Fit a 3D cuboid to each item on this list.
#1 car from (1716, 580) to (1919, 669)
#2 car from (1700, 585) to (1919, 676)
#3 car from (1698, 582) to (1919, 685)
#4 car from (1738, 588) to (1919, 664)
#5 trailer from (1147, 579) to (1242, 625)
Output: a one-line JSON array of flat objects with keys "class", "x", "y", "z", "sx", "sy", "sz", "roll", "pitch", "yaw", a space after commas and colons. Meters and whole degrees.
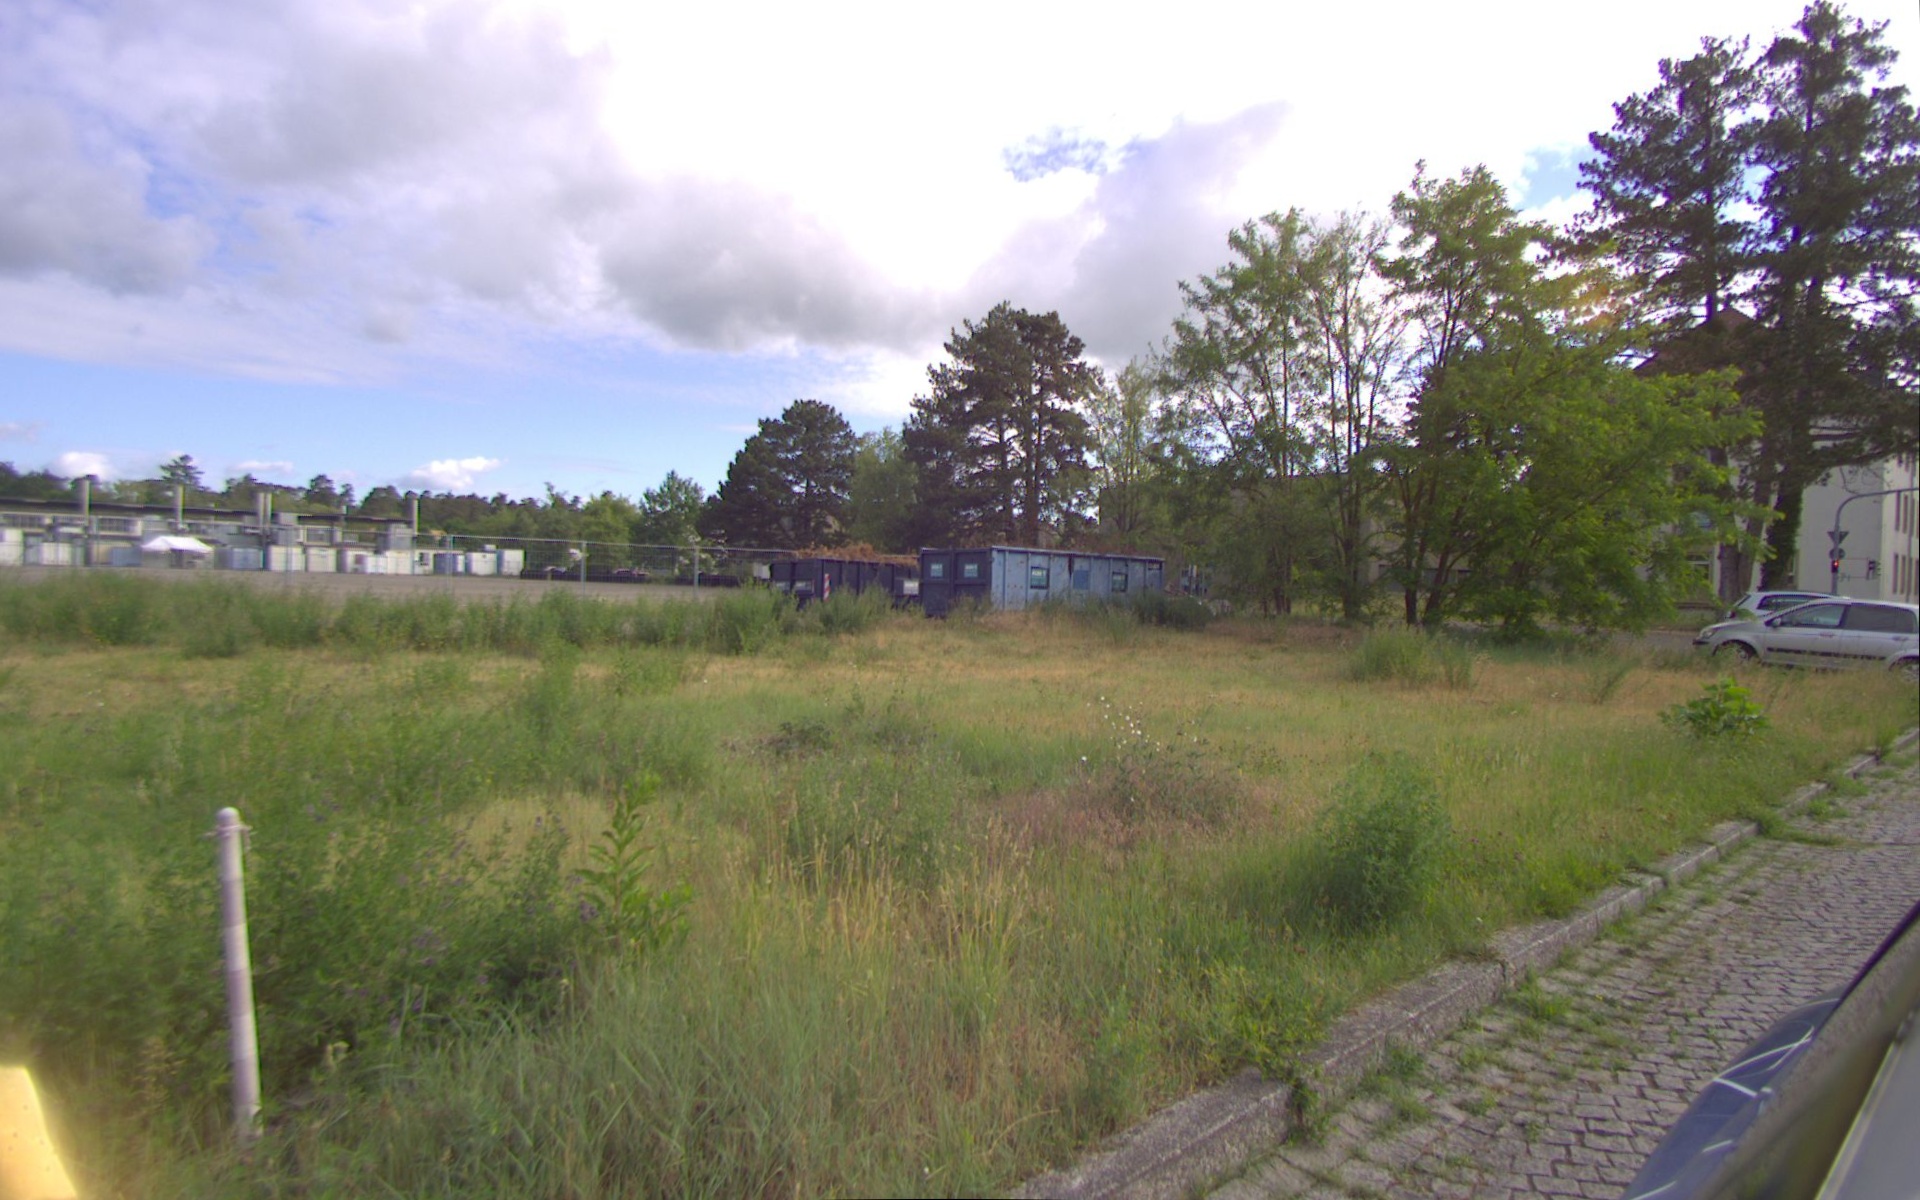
[{"class": "car", "x": 19.379, "y": 0.504, "z": 22.086, "sx": 1.797, "sy": 1.593, "sz": 4.334, "roll": 0, "pitch": 5, "yaw": -45}, {"class": "car", "x": 17.608, "y": 0.601, "z": 20.083, "sx": 1.765, "sy": 1.423, "sz": 4.376, "roll": 2, "pitch": 4, "yaw": -41}, {"class": "car", "x": 15.768, "y": 0.583, "z": 18.144, "sx": 1.713, "sy": 1.497, "sz": 3.779, "roll": 2, "pitch": 4, "yaw": -42}, {"class": "car", "x": 21.302, "y": 0.616, "z": 23.730, "sx": 1.796, "sy": 1.442, "sz": 4.558, "roll": 0, "pitch": 5, "yaw": -43}, {"class": "trailer", "x": 6.394, "y": 0.030, "z": 27.703, "sx": 1.124, "sy": 1.184, "sz": 2.316, "roll": 0, "pitch": 1, "yaw": -41}]
